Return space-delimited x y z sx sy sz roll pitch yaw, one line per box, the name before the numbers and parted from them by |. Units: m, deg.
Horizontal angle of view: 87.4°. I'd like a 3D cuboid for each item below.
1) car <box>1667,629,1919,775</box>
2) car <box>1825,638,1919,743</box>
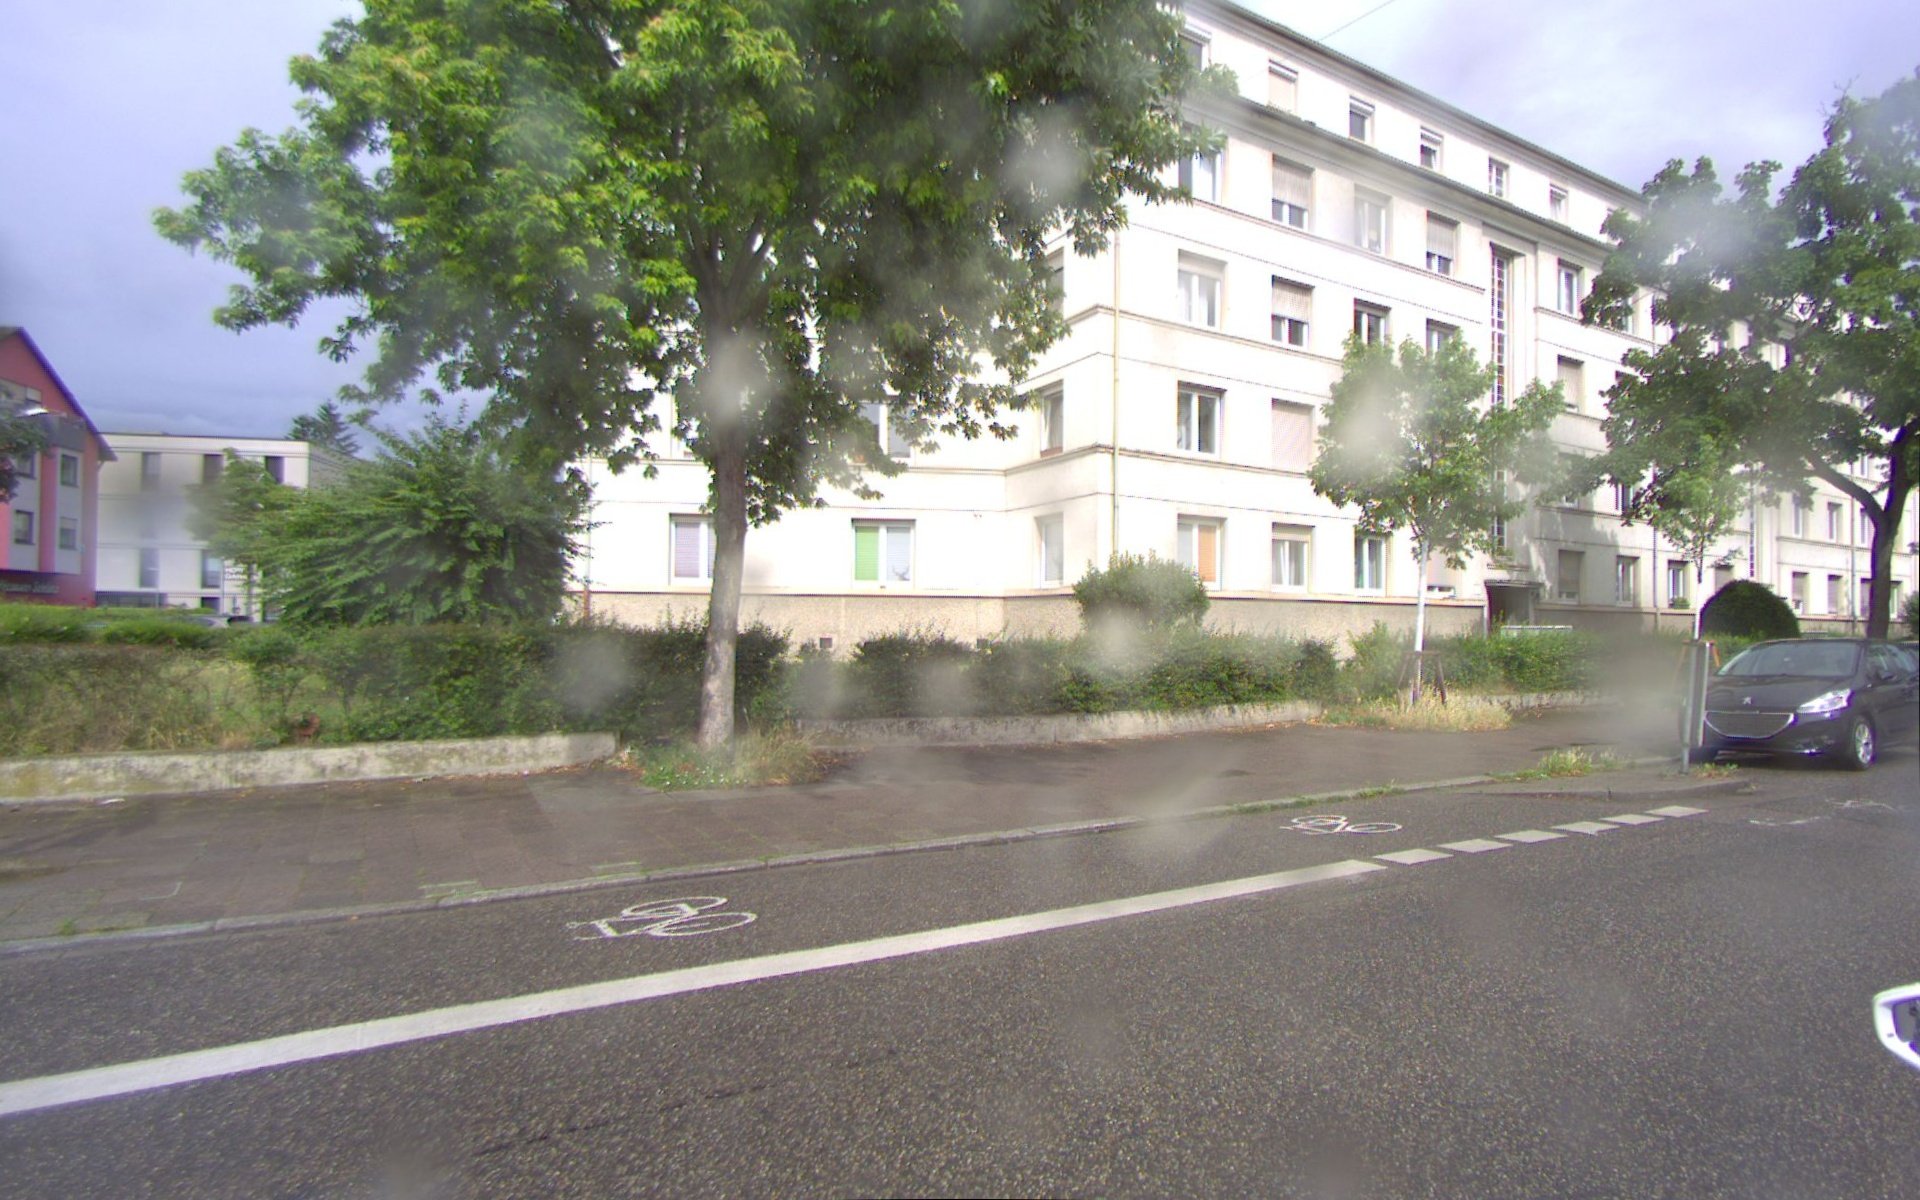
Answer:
car | 10.464 1.144 12.216 4.019 1.525 1.578 2 -3 -32
car | 14.804 1.305 15.108 4.007 1.436 1.578 2 -3 -32
